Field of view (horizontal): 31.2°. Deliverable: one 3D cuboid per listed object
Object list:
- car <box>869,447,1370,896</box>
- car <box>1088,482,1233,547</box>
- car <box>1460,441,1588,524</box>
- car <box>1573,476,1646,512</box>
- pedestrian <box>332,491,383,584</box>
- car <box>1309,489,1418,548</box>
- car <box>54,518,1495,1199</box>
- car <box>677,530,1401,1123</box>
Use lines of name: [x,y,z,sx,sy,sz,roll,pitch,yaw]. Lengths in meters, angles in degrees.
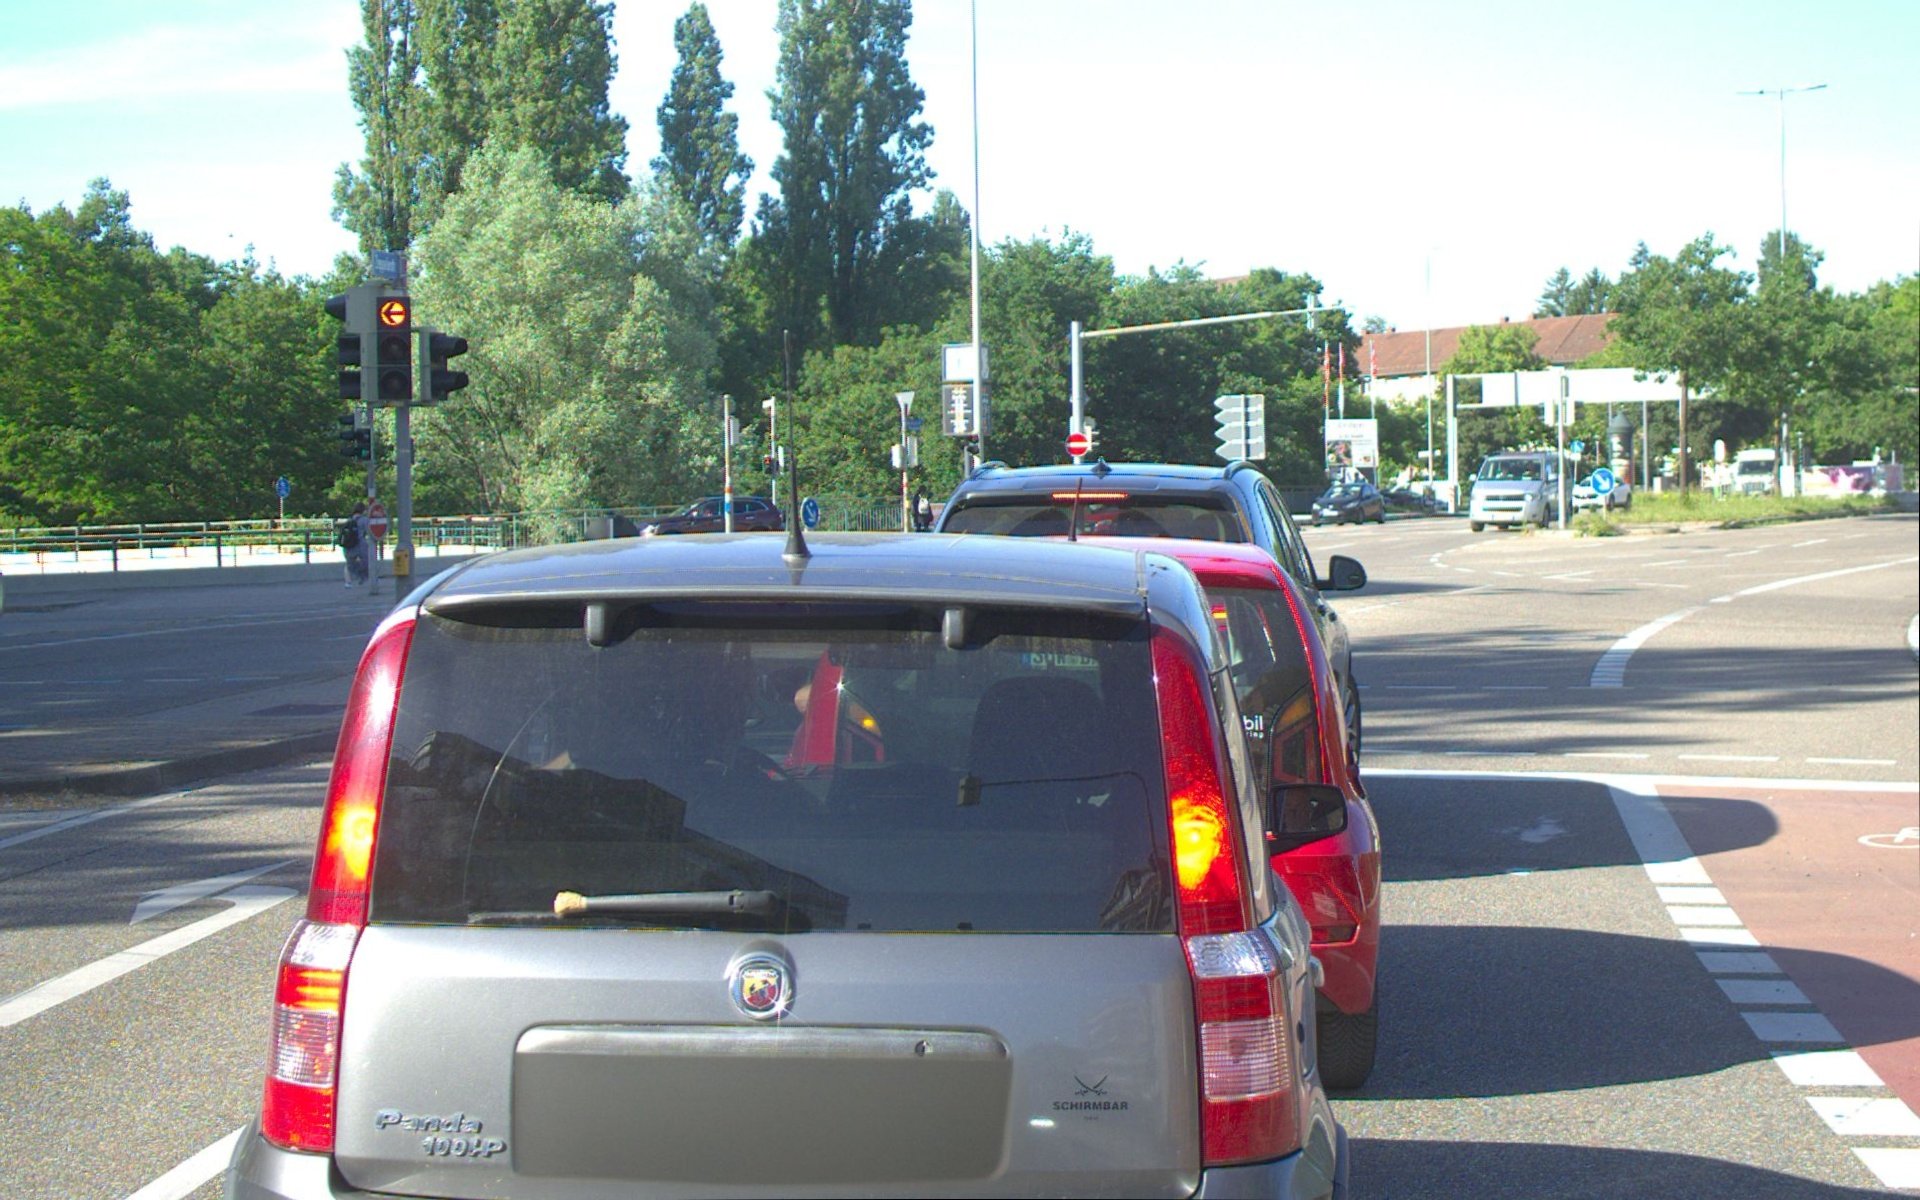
car: [0.895,0.211,16.106,1.869,1.784,4.413,1,2,9]
car: [6.234,-2.628,106.352,2.017,1.848,4.875,0,-1,39]
car: [14.256,-2.931,86.668,2.015,1.848,4.880,0,-1,24]
car: [28.943,-4.725,153.083,2.016,1.540,4.880,0,2,26]
pedestrian: [-10.534,-1.080,60.109,0.686,1.533,1.366,0,-3,-3]
car: [13.864,-2.772,117.971,2.016,1.848,4.878,0,-1,29]
car: [-0.147,0.623,6.375,1.820,1.484,4.000,2,2,3]
car: [0.277,0.531,10.731,1.820,1.474,4.000,1,1,2]
